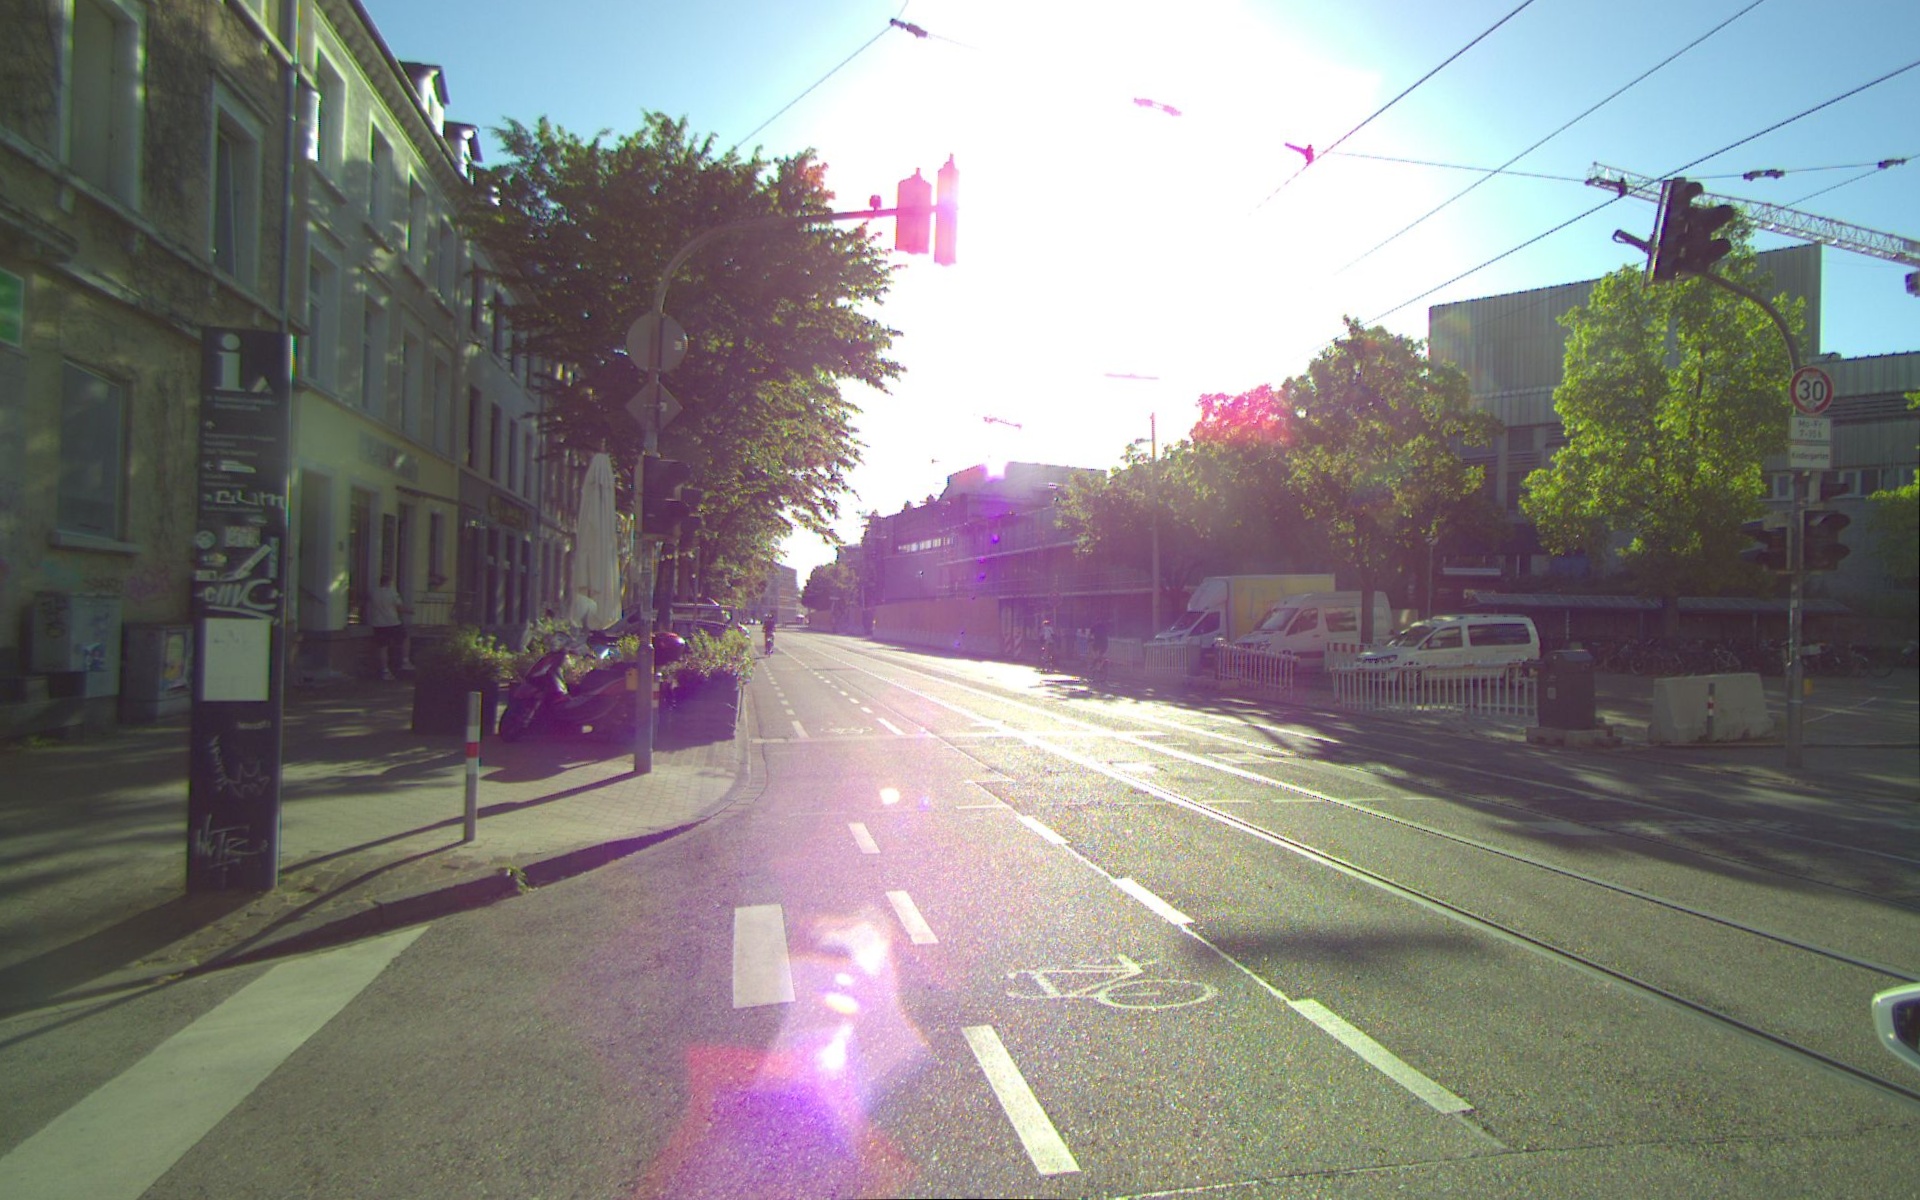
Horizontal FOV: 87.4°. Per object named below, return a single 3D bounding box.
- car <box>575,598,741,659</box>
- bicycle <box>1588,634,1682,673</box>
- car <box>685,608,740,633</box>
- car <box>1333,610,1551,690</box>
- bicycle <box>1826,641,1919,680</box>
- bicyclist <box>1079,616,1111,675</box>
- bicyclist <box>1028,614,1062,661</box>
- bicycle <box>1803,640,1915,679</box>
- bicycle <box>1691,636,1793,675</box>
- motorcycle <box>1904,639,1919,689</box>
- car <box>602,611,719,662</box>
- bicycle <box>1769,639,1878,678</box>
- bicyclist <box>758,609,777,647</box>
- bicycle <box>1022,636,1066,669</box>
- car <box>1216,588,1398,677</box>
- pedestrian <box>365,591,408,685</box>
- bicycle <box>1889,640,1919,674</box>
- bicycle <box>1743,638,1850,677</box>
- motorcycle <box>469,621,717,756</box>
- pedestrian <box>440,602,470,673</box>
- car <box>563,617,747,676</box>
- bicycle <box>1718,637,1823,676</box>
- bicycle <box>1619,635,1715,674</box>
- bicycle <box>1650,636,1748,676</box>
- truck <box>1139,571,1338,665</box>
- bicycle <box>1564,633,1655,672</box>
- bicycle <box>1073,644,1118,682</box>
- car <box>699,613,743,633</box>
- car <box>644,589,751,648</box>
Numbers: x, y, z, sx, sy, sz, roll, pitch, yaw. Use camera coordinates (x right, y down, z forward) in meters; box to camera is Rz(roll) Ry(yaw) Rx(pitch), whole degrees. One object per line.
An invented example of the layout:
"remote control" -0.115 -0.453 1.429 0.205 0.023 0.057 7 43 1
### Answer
"car" -10.707 1.008 35.821 5.298 2.018 2.017 2 -1 -37
"bicycle" 21.869 1.713 32.652 0.806 1.162 3.088 1 -1 -4
"car" -20.635 1.751 83.796 4.061 1.776 1.810 5 -3 -35
"car" 12.595 1.251 26.395 4.856 1.918 2.008 -1 0 -8
"bicycle" 30.513 1.970 33.300 0.806 1.162 3.088 1 -1 -4
"bicyclist" 3.975 1.332 29.553 0.671 1.680 0.810 1 -1 -14
"bicyclist" 3.102 1.363 36.755 0.880 1.661 1.098 3 -1 -12
"bicycle" 29.603 1.922 33.175 0.806 1.162 3.088 1 -1 -4
"bicycle" 25.577 1.786 32.962 0.806 1.162 3.088 1 -1 -4
"motorcycle" 25.664 1.660 25.698 2.178 1.274 0.541 0 -1 40
"car" -9.879 1.204 33.201 3.294 1.523 1.671 2 1 -37
"bicycle" 28.423 1.892 33.154 0.806 1.162 3.088 1 -1 -4
"bicyclist" -8.162 1.182 42.538 0.714 1.593 1.026 1 -1 -14
"bicycle" 3.055 1.913 36.862 0.880 1.107 2.425 3 -1 -12
"car" 11.136 1.004 32.306 5.292 2.564 1.993 -2 0 -16
"pedestrian" -10.338 0.684 18.124 0.531 1.665 0.568 1 -1 -15
"bicycle" 33.828 1.998 34.511 0.806 1.162 3.088 1 -1 -4
"bicycle" 27.468 1.857 33.084 0.806 1.162 3.088 1 -1 -4
"motorcycle" -4.126 0.995 11.461 2.405 1.368 0.988 5 -4 -43
"pedestrian" -12.016 0.885 23.906 0.531 1.665 0.568 1 -1 -15
"car" -8.439 1.301 27.959 4.600 1.510 1.671 2 -2 -36
"bicycle" 26.589 1.824 33.058 0.806 1.162 3.088 1 -1 -4
"bicycle" 22.992 1.755 32.763 0.806 1.162 3.088 1 -1 -4
"bicycle" 24.049 1.794 32.785 0.806 1.162 3.088 1 -1 -4
"truck" 10.520 0.648 38.044 6.997 3.392 2.384 0 0 -13
"bicycle" 20.911 1.676 32.450 0.806 1.162 3.088 1 -1 -4
"bicycle" 3.968 1.827 29.539 0.671 1.032 1.916 1 -1 -13
"car" -25.412 2.439 106.805 4.061 1.776 1.810 5 -3 -35
"car" -13.566 0.981 51.983 5.114 2.611 2.238 5 -2 -16
